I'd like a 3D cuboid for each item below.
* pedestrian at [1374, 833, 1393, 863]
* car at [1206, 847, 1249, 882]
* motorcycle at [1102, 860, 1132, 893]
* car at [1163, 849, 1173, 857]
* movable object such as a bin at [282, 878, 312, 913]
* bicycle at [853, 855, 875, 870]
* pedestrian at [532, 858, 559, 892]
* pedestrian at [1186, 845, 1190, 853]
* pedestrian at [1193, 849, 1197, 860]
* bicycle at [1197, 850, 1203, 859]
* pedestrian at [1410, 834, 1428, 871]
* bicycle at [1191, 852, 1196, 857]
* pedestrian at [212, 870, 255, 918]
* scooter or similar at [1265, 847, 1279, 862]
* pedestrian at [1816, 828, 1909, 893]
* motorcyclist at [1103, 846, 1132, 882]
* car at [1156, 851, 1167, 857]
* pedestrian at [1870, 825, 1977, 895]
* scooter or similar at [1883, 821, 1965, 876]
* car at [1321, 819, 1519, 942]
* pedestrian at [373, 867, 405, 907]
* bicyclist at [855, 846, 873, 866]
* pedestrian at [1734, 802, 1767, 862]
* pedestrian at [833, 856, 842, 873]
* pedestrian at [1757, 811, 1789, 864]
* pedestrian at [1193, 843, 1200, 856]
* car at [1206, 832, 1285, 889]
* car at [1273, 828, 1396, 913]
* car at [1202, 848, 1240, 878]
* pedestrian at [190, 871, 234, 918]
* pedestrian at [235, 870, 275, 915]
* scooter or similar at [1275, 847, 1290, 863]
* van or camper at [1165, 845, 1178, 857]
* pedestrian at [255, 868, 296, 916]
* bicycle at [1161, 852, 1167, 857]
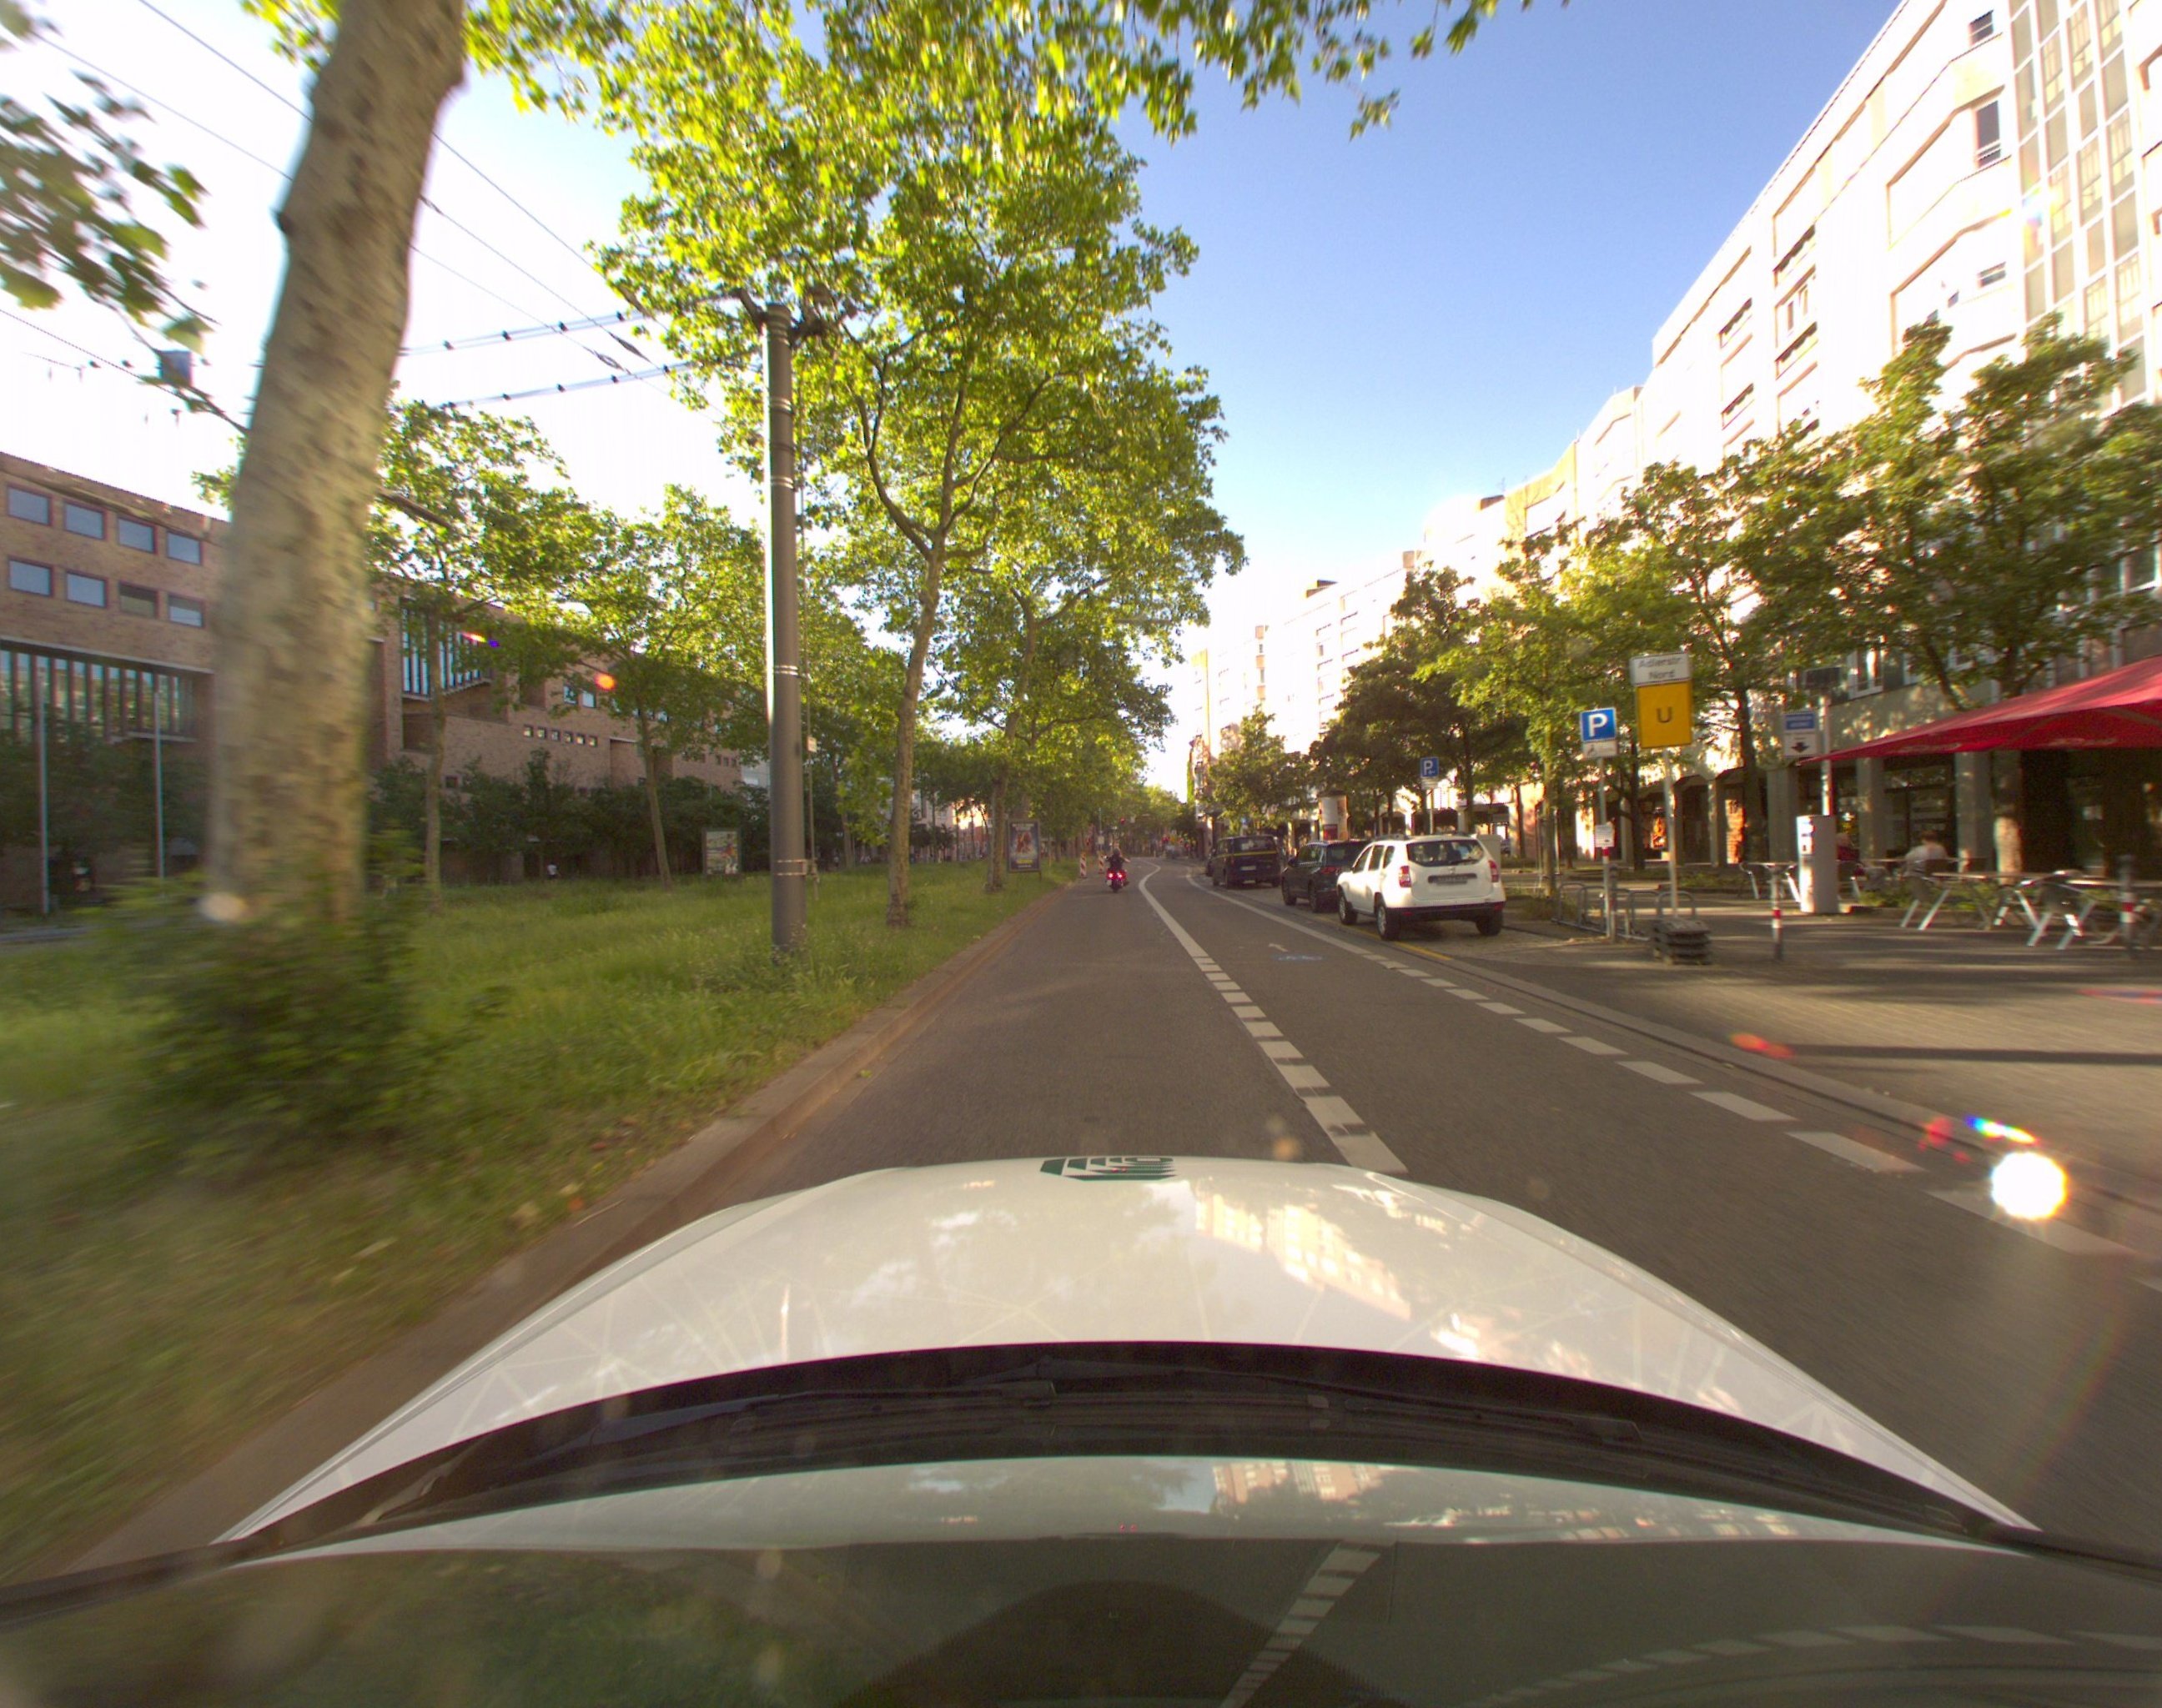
[{"bbox_3d":[19.993,-0.397,53.831,0.816,1.981,0.845,-1,0,-12],"label":"pedestrian"},{"bbox_3d":[6.886,0.455,38.491,1.693,1.465,4.183,-3,0,7],"label":"car"},{"bbox_3d":[1.269,0.785,29.266,1.014,1.097,2.008,-1,0,1],"label":"motorcycle"},{"bbox_3d":[18.474,-0.189,172.129,1.609,1.619,4.500,-2,0,12],"label":"car"},{"bbox_3d":[-29.872,1.565,31.022,0.354,1.279,0.757,-2,0,2],"label":"movable object such as a bin"},{"bbox_3d":[-17.098,0.666,64.181,0.952,1.126,2.438,-2,-1,3],"label":"bicycle"},{"bbox_3d":[-29.690,1.161,45.191,0.819,1.831,0.903,-1,0,8],"label":"pedestrian"},{"bbox_3d":[22.163,-1.041,168.460,0.696,1.733,0.769,-1,0,6],"label":"pedestrian"},{"bbox_3d":[18.555,0.065,132.774,0.454,1.672,0.684,-2,0,32],"label":"pedestrian"},{"bbox_3d":[16.788,0.117,114.936,0.617,1.225,1.934,-1,0,15],"label":"bicycle"},{"bbox_3d":[18.527,-0.065,44.635,0.637,1.981,0.776,-1,0,0],"label":"pedestrian"},{"bbox_3d":[21.302,0.106,154.278,0.733,0.939,1.756,-1,0,7],"label":"bicycle"},{"bbox_3d":[-29.834,1.398,28.672,0.661,1.617,0.757,-2,0,2],"label":"pedestrian"},{"bbox_3d":[15.876,0.031,67.664,0.485,1.216,1.442,-1,0,-16],"label":"scooter or similar"},{"bbox_3d":[15.681,0.122,16.369,0.924,1.250,0.970,-2,0,6],"label":"pedestrian"},{"bbox_3d":[1.288,0.344,29.263,1.008,1.263,0.774,1,0,1],"label":"motorcyclist"},{"bbox_3d":[16.093,-0.003,162.431,1.609,1.302,4.325,-2,0,11],"label":"car"},{"bbox_3d":[15.466,0.109,14.995,0.879,1.212,1.128,-1,0,12],"label":"pedestrian"},{"bbox_3d":[20.096,-0.140,19.443,0.662,1.255,1.367,-2,0,10],"label":"scooter or similar"},{"bbox_3d":[5.650,0.376,14.239,1.790,1.724,4.465,-3,0,4],"label":"car"},{"bbox_3d":[-29.060,1.381,34.198,0.663,1.617,0.755,-2,0,-7],"label":"pedestrian"},{"bbox_3d":[-17.118,0.167,64.277,0.937,1.571,1.210,-2,0,3],"label":"bicyclist"},{"bbox_3d":[25.331,-0.821,30.831,0.717,2.248,0.809,-2,0,23],"label":"pedestrian"},{"bbox_3d":[-25.525,1.076,85.433,0.725,1.740,0.649,-1,0,6],"label":"pedestrian"},{"bbox_3d":[25.322,-0.596,29.814,0.716,1.872,0.898,-2,0,32],"label":"pedestrian"},{"bbox_3d":[15.591,-0.627,110.008,0.776,1.738,0.839,-2,0,11],"label":"pedestrian"},{"bbox_3d":[6.285,0.211,31.751,2.030,1.943,5.199,-3,0,1],"label":"car"},{"bbox_3d":[6.028,0.342,19.954,1.790,1.724,4.580,-3,0,4],"label":"car"},{"bbox_3d":[7.626,0.461,44.567,1.693,1.483,4.255,-3,0,6],"label":"car"},{"bbox_3d":[-30.616,1.420,28.702,0.661,1.617,0.757,-2,0,2],"label":"pedestrian"},{"bbox_3d":[-30.652,1.412,30.211,0.661,1.617,0.757,-2,0,2],"label":"pedestrian"},{"bbox_3d":[16.181,0.051,65.457,0.485,1.274,1.442,-1,0,-16],"label":"scooter or similar"},{"bbox_3d":[19.837,-0.689,178.694,2.034,2.540,5.793,-2,0,13],"label":"van or camper"},{"bbox_3d":[-29.902,1.383,30.238,0.661,1.722,0.797,-2,0,2],"label":"pedestrian"},{"bbox_3d":[15.850,0.103,155.274,0.736,1.053,1.748,-1,0,-6],"label":"bicycle"}]
